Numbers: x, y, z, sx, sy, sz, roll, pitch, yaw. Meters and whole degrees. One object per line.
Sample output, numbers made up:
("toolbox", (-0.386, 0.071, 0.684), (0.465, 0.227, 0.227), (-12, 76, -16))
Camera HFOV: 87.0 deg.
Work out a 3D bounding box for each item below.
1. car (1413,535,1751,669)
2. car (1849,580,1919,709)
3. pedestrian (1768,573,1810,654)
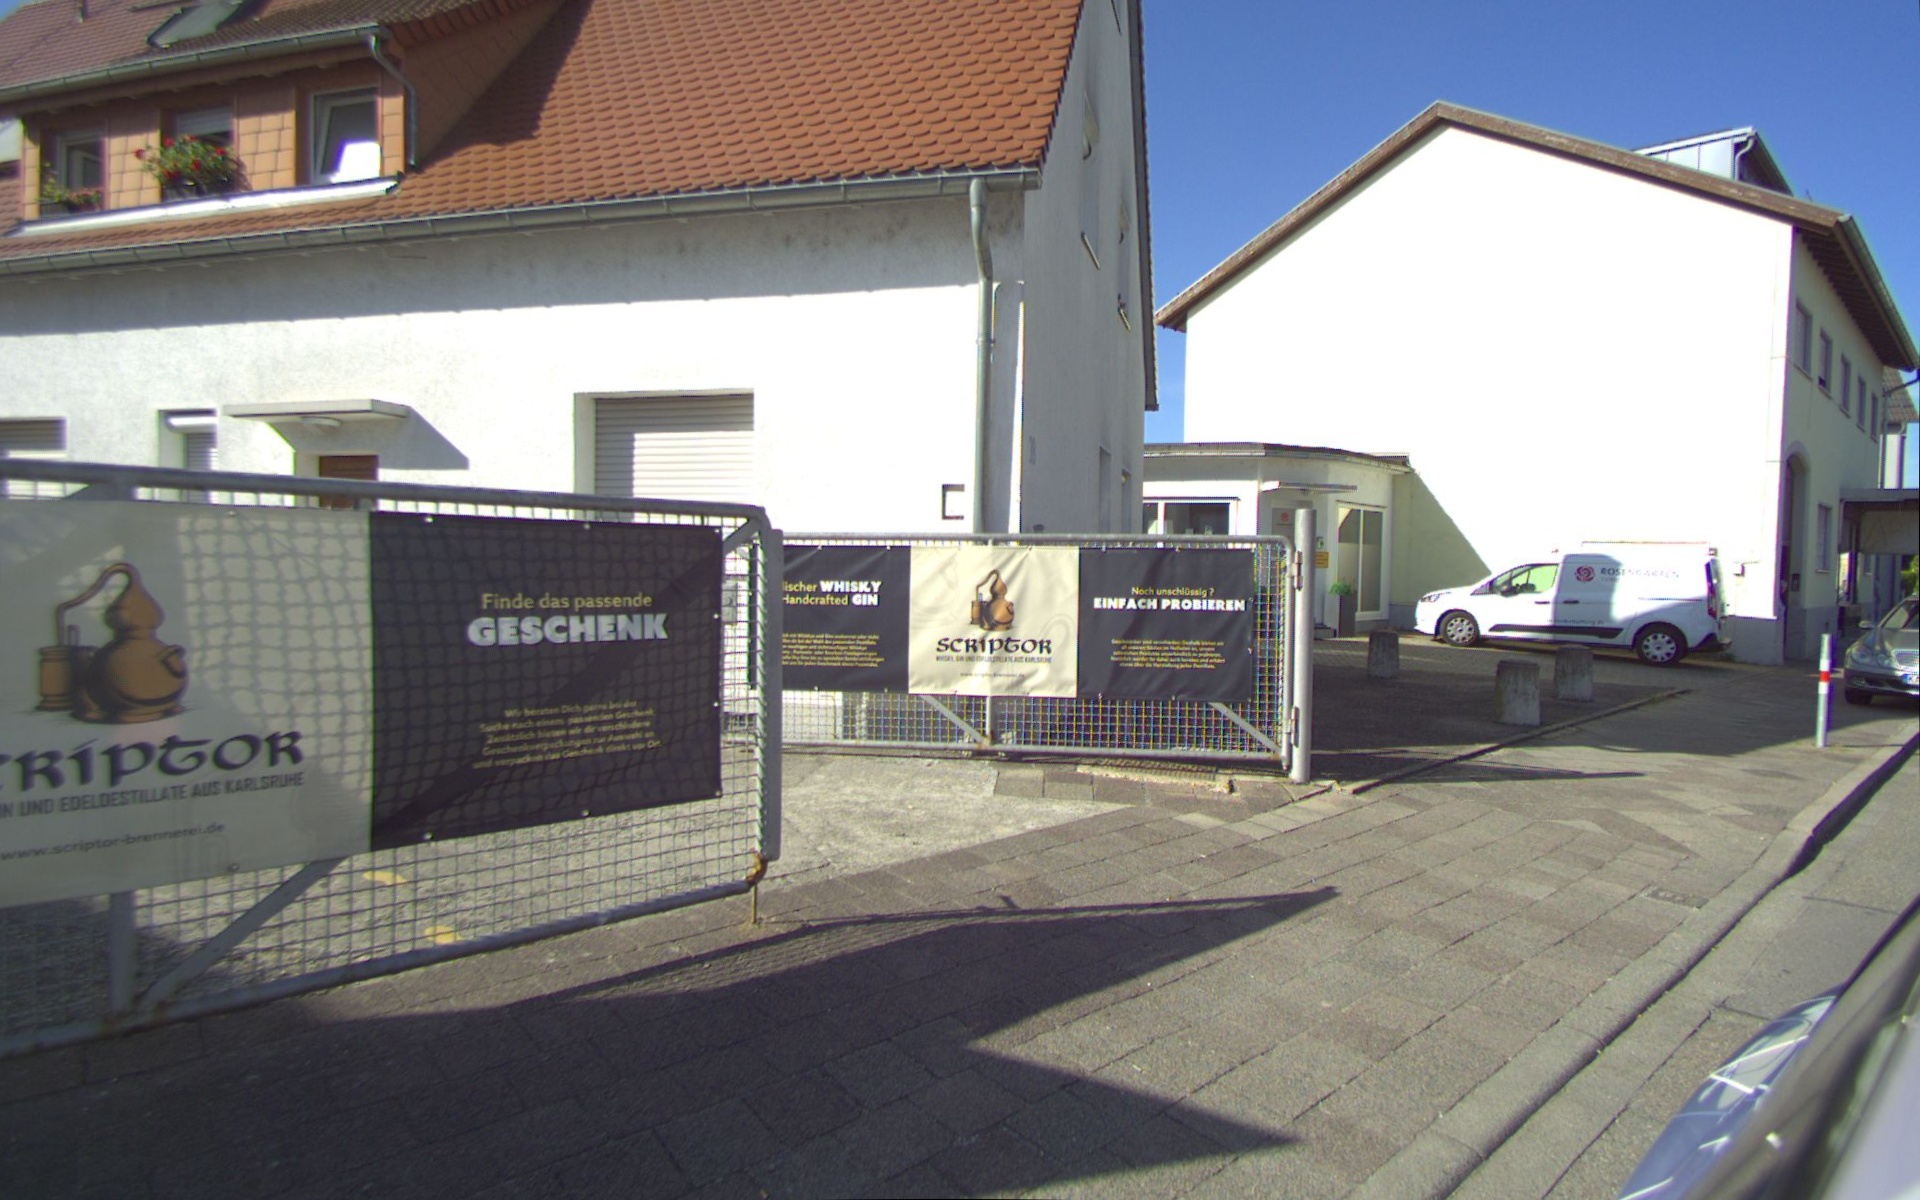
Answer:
("car", (10.822, -0.078, 17.850), (4.761, 1.909, 1.880), (6, 4, 41))
("car", (13.255, 0.544, 13.079), (4.575, 1.493, 1.816), (0, 2, -38))
("pedestrian", (16.476, 0.260, 20.111), (0.564, 1.571, 0.758), (1, 1, 44))
